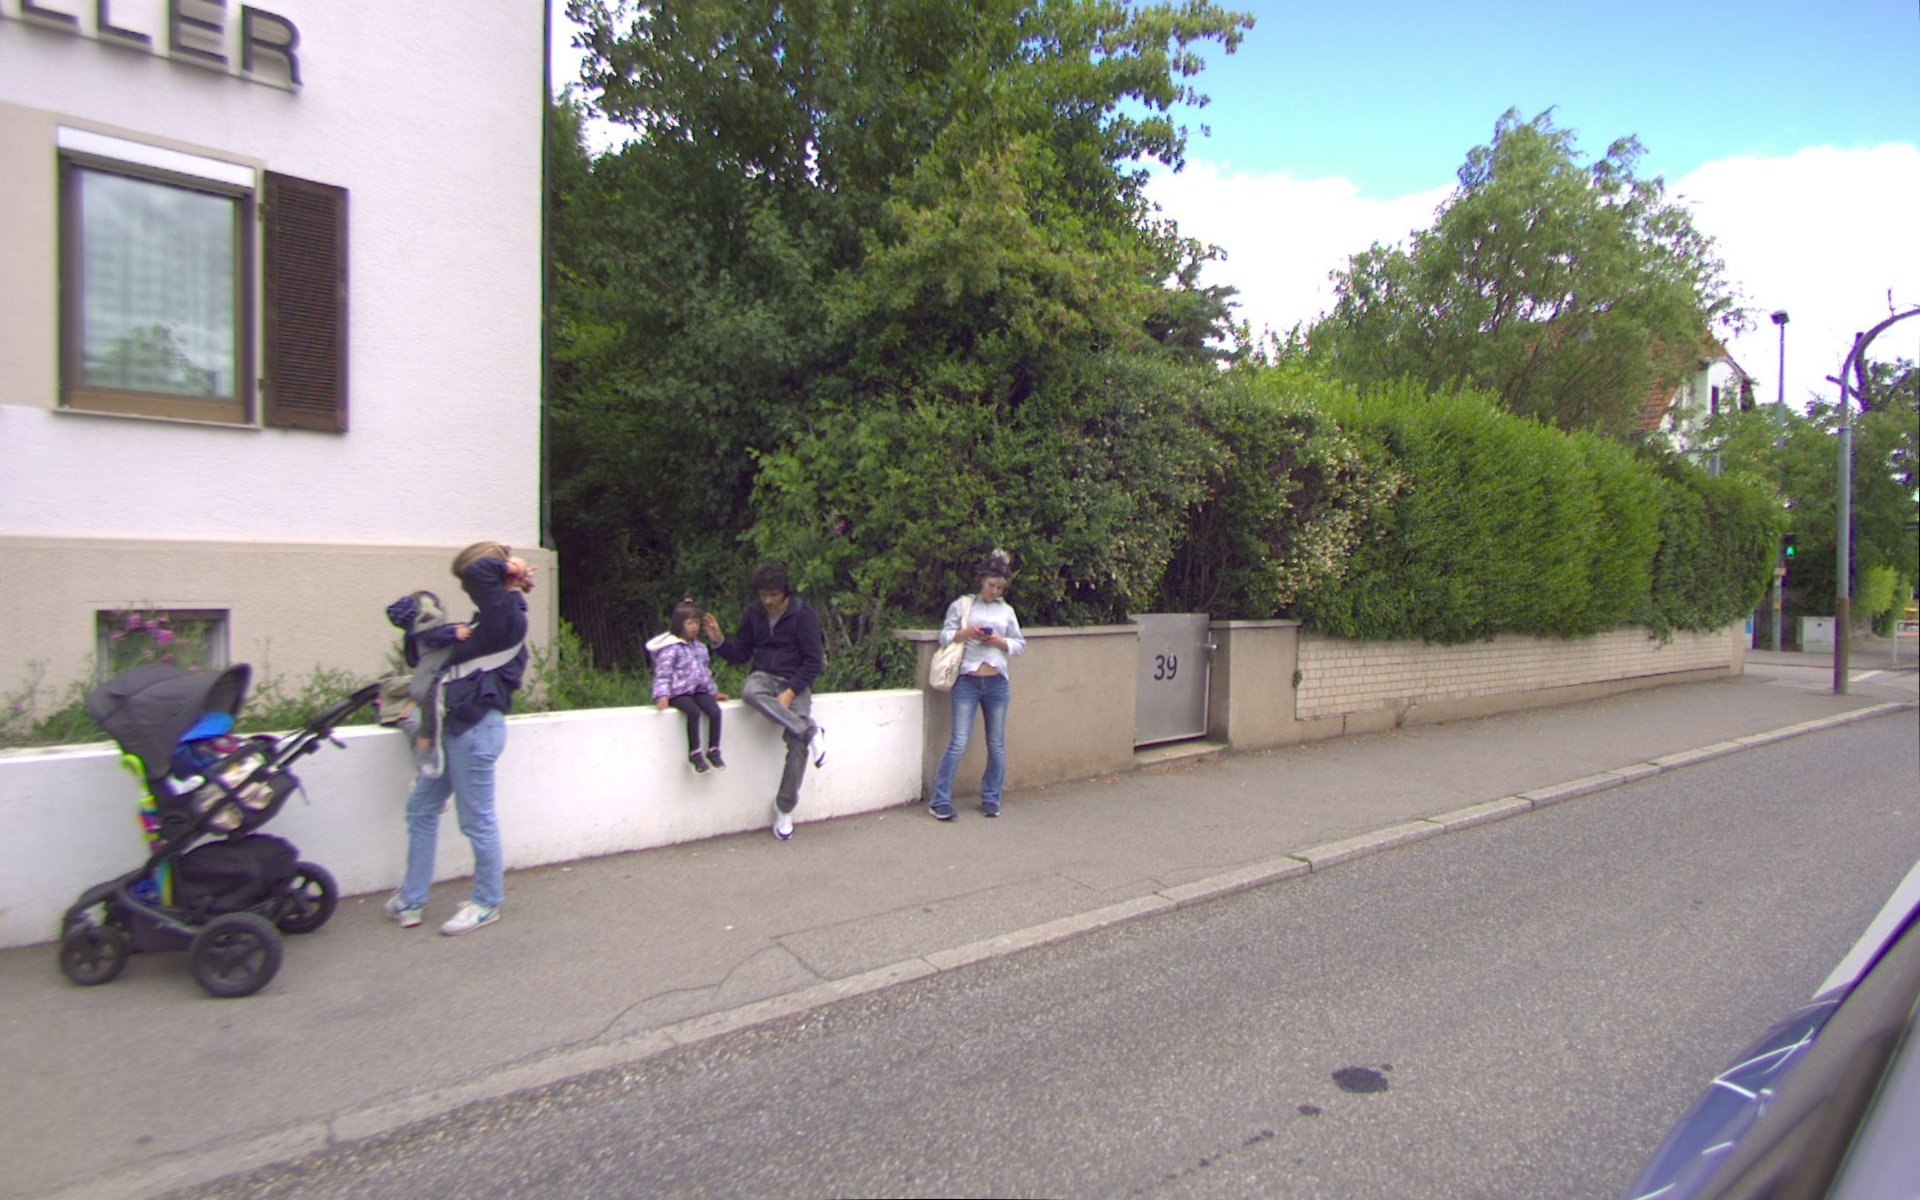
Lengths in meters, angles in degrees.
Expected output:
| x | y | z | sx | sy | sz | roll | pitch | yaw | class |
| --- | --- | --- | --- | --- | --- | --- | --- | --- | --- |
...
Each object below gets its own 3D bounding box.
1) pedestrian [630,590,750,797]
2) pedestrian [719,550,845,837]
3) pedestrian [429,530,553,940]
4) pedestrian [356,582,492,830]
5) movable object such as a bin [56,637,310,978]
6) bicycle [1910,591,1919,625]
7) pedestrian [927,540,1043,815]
| x | y | z | sx | sy | sz | roll | pitch | yaw | class |
| --- | --- | --- | --- | --- | --- | --- | --- | --- | --- |
| -1.403 | 0.459 | 5.252 | 0.377 | 0.975 | 0.454 | 1 | 5 | -45 | pedestrian |
| -0.957 | 0.472 | 5.533 | 0.503 | 1.444 | 0.622 | 4 | 3 | -1 | pedestrian |
| -1.918 | 0.499 | 4.112 | 0.354 | 1.535 | 0.552 | 2 | 3 | -30 | pedestrian |
| -2.338 | 0.433 | 4.405 | 0.377 | 0.975 | 0.454 | 1 | 5 | -45 | pedestrian |
| -2.706 | 0.703 | 3.566 | 0.556 | 1.070 | 0.443 | 3 | 4 | -13 | movable object such as a bin |
| 45.022 | 0.380 | 47.143 | 2.737 | 1.528 | 0.893 | 0 | 6 | -45 | bicycle |
| 0.136 | 0.448 | 6.121 | 0.534 | 1.574 | 0.472 | 4 | 4 | -6 | pedestrian |
